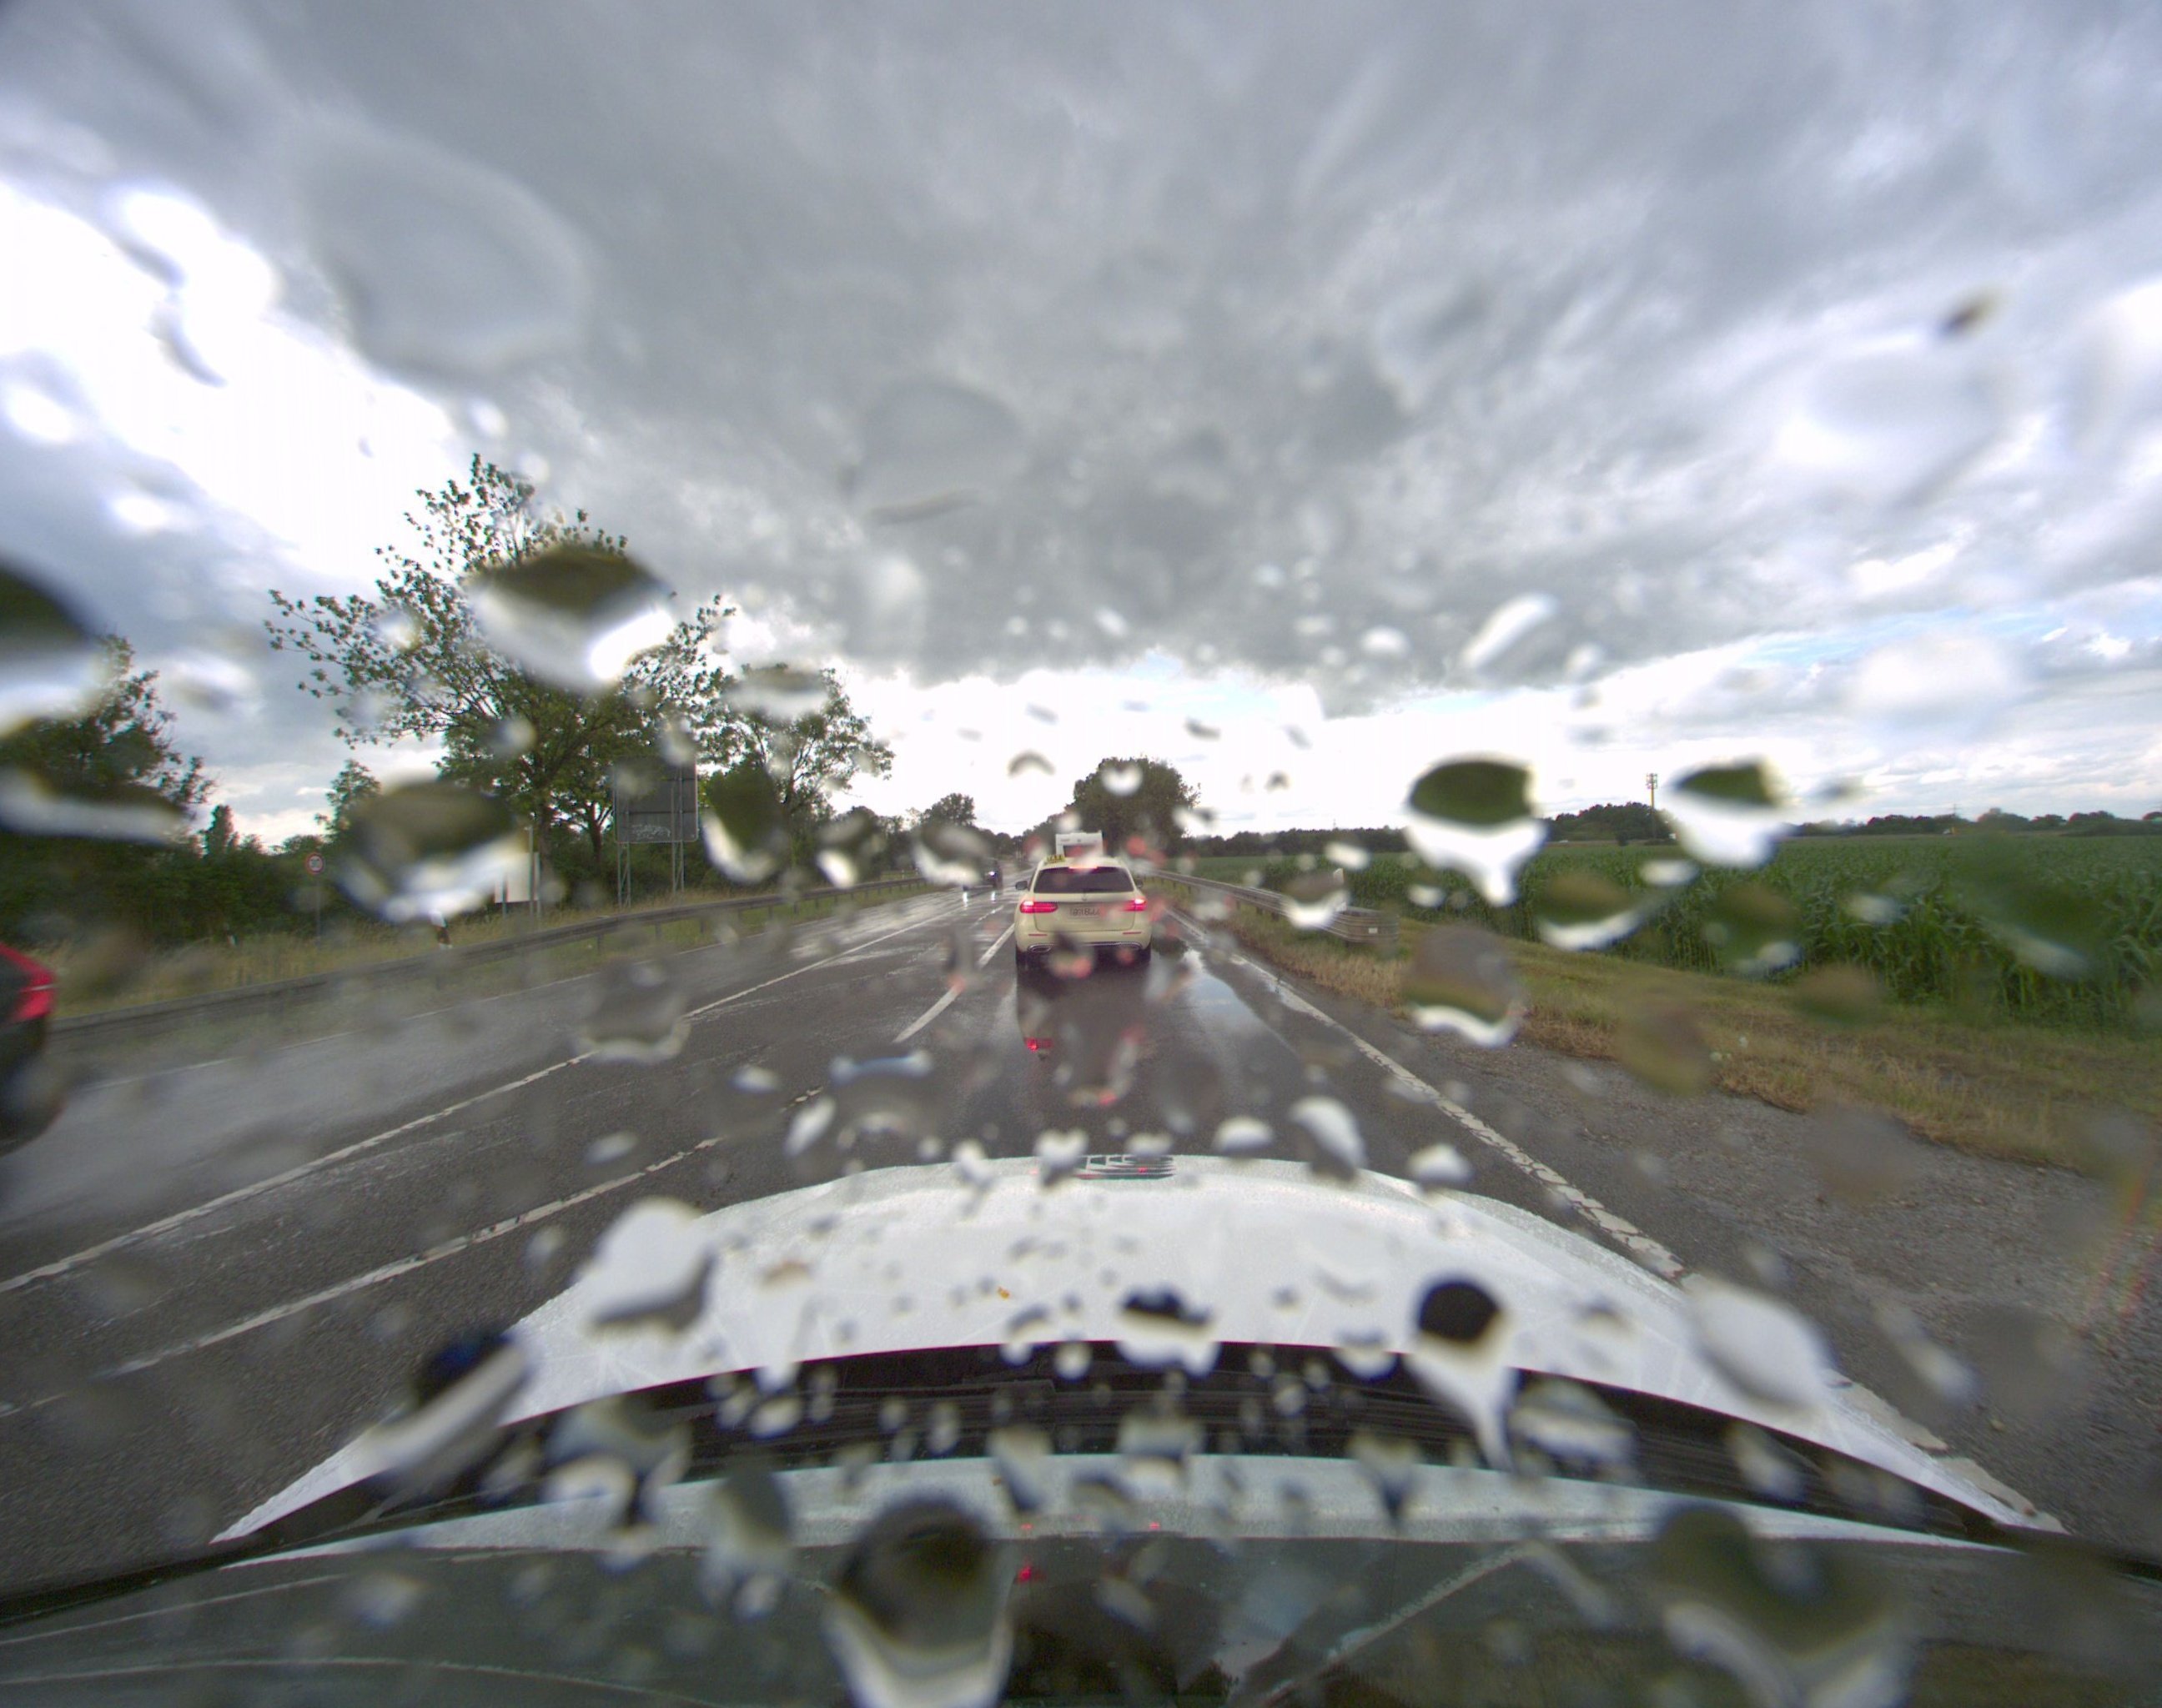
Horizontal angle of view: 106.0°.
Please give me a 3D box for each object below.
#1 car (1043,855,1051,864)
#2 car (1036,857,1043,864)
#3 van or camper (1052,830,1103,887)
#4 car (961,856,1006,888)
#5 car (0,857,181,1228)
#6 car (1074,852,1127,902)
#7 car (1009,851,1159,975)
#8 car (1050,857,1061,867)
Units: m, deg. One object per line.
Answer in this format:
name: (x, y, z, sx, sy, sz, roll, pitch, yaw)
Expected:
car: (-8.399, 1.323, 201.899, 1.989, 2.013, 3.996, -2, 0, -2)
car: (-12.083, 1.798, 235.694, 1.990, 2.013, 3.993, -1, 0, -5)
van or camper: (-0.140, 0.208, 41.771, 2.343, 2.680, 5.768, -2, 0, 0)
car: (-5.150, 0.915, 43.560, 1.763, 1.523, 4.142, -3, 0, 1)
car: (-5.644, 0.861, 1.941, 1.937, 1.580, 4.444, -3, 0, 1)
car: (0.629, 0.714, 27.785, 1.622, 1.529, 3.932, -2, 0, 0)
car: (0.081, 0.732, 12.151, 1.818, 1.485, 4.146, -2, 0, 1)
car: (-5.333, 1.585, 168.697, 1.990, 2.013, 3.994, -1, 0, -4)
